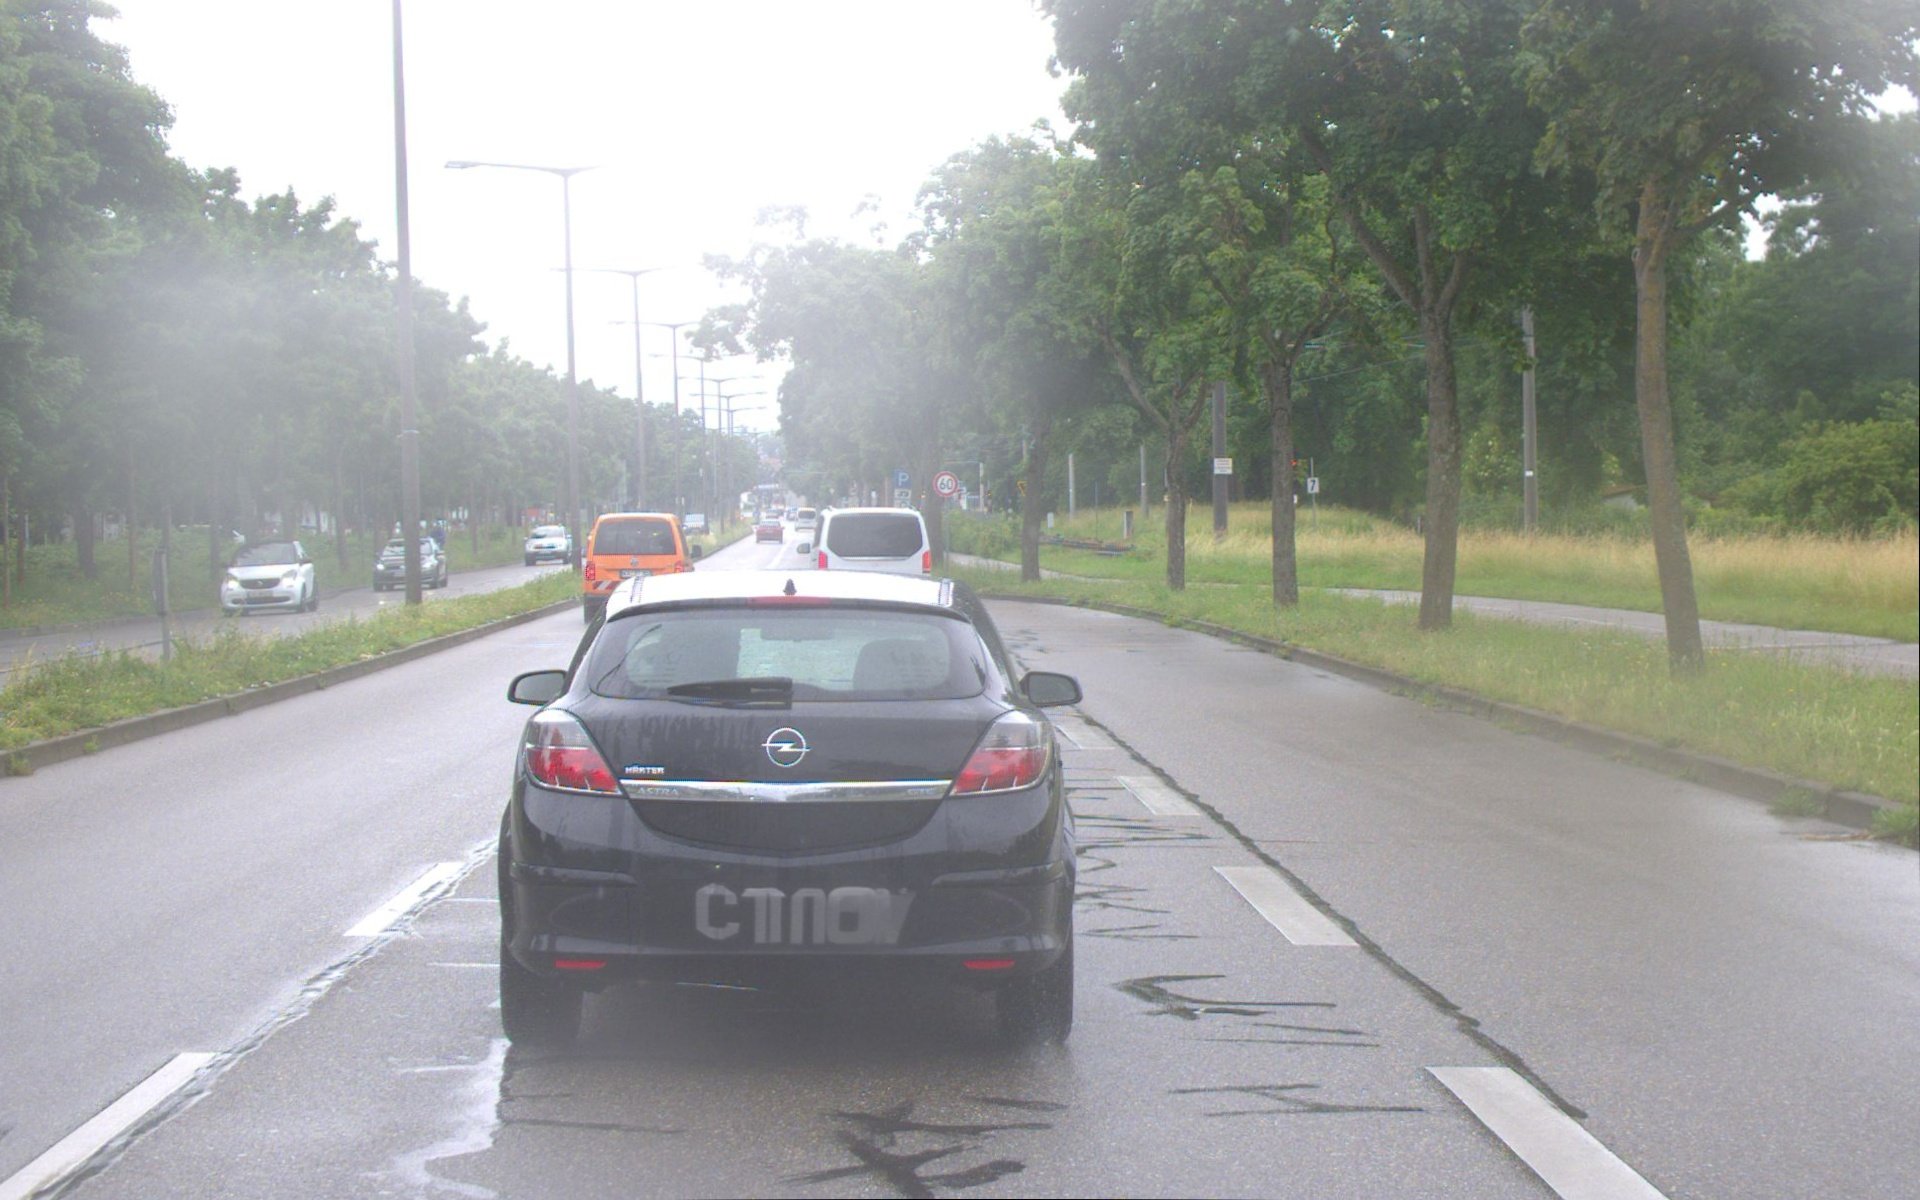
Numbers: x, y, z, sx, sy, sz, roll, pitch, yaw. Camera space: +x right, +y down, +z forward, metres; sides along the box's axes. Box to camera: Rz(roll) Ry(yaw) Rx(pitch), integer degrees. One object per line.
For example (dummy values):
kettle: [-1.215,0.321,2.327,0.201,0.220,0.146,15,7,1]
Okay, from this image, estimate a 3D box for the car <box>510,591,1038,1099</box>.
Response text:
car: [-0.479,0.680,11.510,1.463,1.324,3.758,0,2,2]

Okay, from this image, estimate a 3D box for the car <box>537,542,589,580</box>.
car: [-16.535,-1.640,143.352,1.720,1.524,3.809,-1,1,-1]

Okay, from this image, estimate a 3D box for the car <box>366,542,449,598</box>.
car: [-15.476,-0.865,96.405,1.720,1.524,3.809,-1,1,-1]

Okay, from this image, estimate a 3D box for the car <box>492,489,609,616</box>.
car: [-6.837,-0.780,57.733,1.734,2.012,4.850,1,0,-4]

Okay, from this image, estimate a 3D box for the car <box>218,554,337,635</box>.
car: [-14.142,-0.138,71.424,1.720,1.524,3.809,-1,2,-1]

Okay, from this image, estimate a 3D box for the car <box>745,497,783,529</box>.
car: [-12.095,-5.385,212.820,1.993,1.873,4.000,0,0,2]

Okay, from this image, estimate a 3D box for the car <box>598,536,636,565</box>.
car: [-18.522,-2.702,185.795,1.720,1.524,3.809,-1,1,-1]

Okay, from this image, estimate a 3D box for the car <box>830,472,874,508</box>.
car: [-6.349,-6.491,203.210,2.516,2.045,5.294,2,2,-1]

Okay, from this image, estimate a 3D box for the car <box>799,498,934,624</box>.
car: [-1.580,-0.633,56.412,2.059,1.968,4.609,0,0,-3]
